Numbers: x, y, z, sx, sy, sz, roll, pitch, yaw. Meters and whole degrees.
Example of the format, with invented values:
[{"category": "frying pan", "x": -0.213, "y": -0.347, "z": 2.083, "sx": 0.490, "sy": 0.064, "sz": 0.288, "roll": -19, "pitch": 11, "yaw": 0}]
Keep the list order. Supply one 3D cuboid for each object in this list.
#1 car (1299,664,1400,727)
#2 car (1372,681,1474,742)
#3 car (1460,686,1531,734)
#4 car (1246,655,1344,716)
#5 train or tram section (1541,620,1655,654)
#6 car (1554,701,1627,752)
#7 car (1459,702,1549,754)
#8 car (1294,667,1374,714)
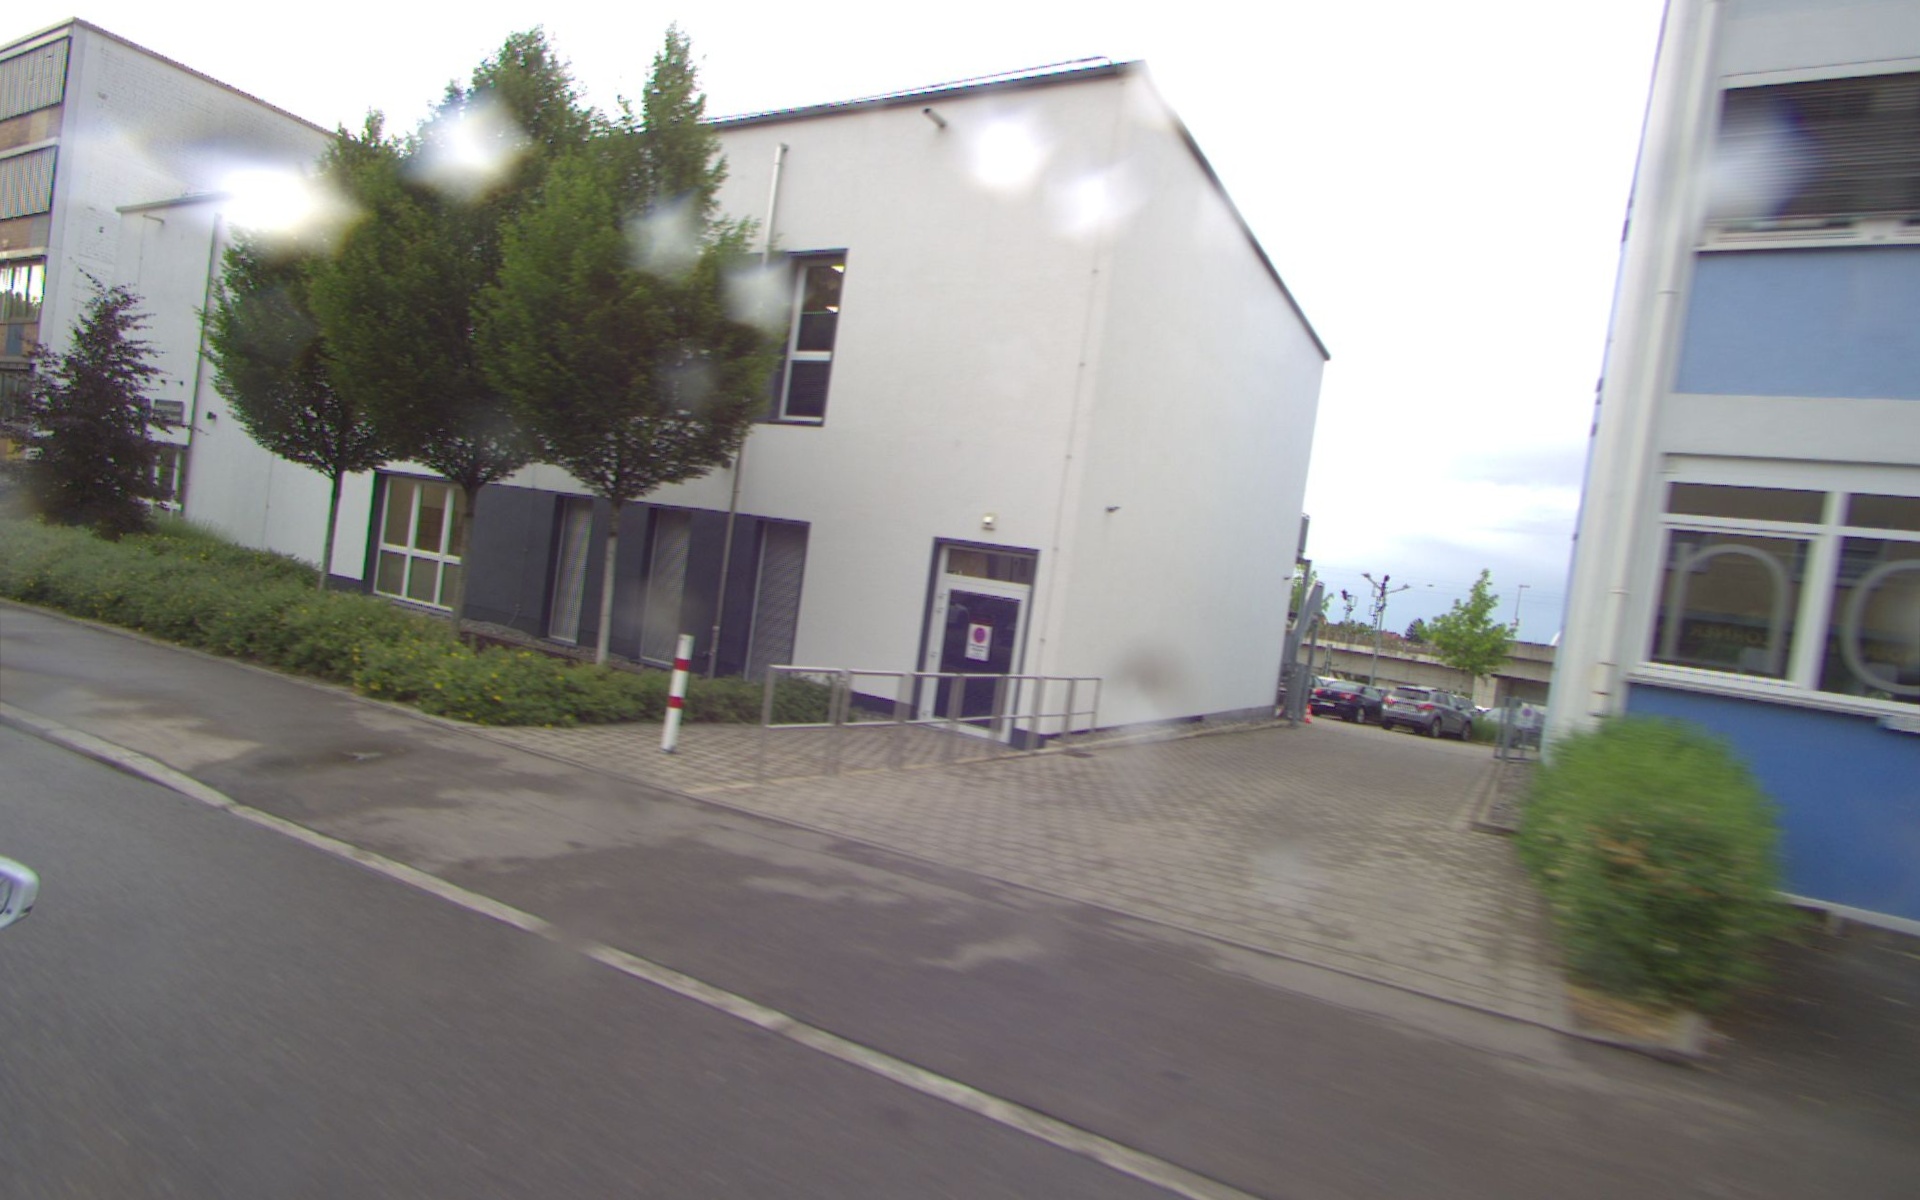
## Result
[{"category": "car", "x": 14.065, "y": 3.466, "z": 36.241, "sx": 1.888, "sy": 1.711, "sz": 3.860, "roll": 7, "pitch": -3, "yaw": 44}, {"category": "car", "x": 15.905, "y": 3.831, "z": 34.470, "sx": 1.888, "sy": 1.561, "sz": 3.860, "roll": 7, "pitch": -3, "yaw": 44}, {"category": "car", "x": 25.679, "y": 5.271, "z": 48.203, "sx": 1.888, "sy": 1.772, "sz": 3.860, "roll": 7, "pitch": -3, "yaw": 44}, {"category": "car", "x": 12.667, "y": 3.248, "z": 37.974, "sx": 1.888, "sy": 1.711, "sz": 3.860, "roll": 7, "pitch": -3, "yaw": 44}, {"category": "train or tram section", "x": 54.193, "y": 3.112, "z": 85.662, "sx": 1.985, "sy": 2.038, "sz": 7.861, "roll": 7, "pitch": 0, "yaw": -40}, {"category": "car", "x": 28.398, "y": 5.697, "z": 45.285, "sx": 1.888, "sy": 1.772, "sz": 3.860, "roll": 7, "pitch": -3, "yaw": 44}, {"category": "car", "x": 20.350, "y": 4.809, "z": 37.580, "sx": 1.888, "sy": 1.449, "sz": 3.860, "roll": 7, "pitch": -3, "yaw": 44}, {"category": "car", "x": 16.904, "y": 4.095, "z": 45.428, "sx": 1.888, "sy": 1.532, "sz": 3.860, "roll": 7, "pitch": -3, "yaw": 44}]
